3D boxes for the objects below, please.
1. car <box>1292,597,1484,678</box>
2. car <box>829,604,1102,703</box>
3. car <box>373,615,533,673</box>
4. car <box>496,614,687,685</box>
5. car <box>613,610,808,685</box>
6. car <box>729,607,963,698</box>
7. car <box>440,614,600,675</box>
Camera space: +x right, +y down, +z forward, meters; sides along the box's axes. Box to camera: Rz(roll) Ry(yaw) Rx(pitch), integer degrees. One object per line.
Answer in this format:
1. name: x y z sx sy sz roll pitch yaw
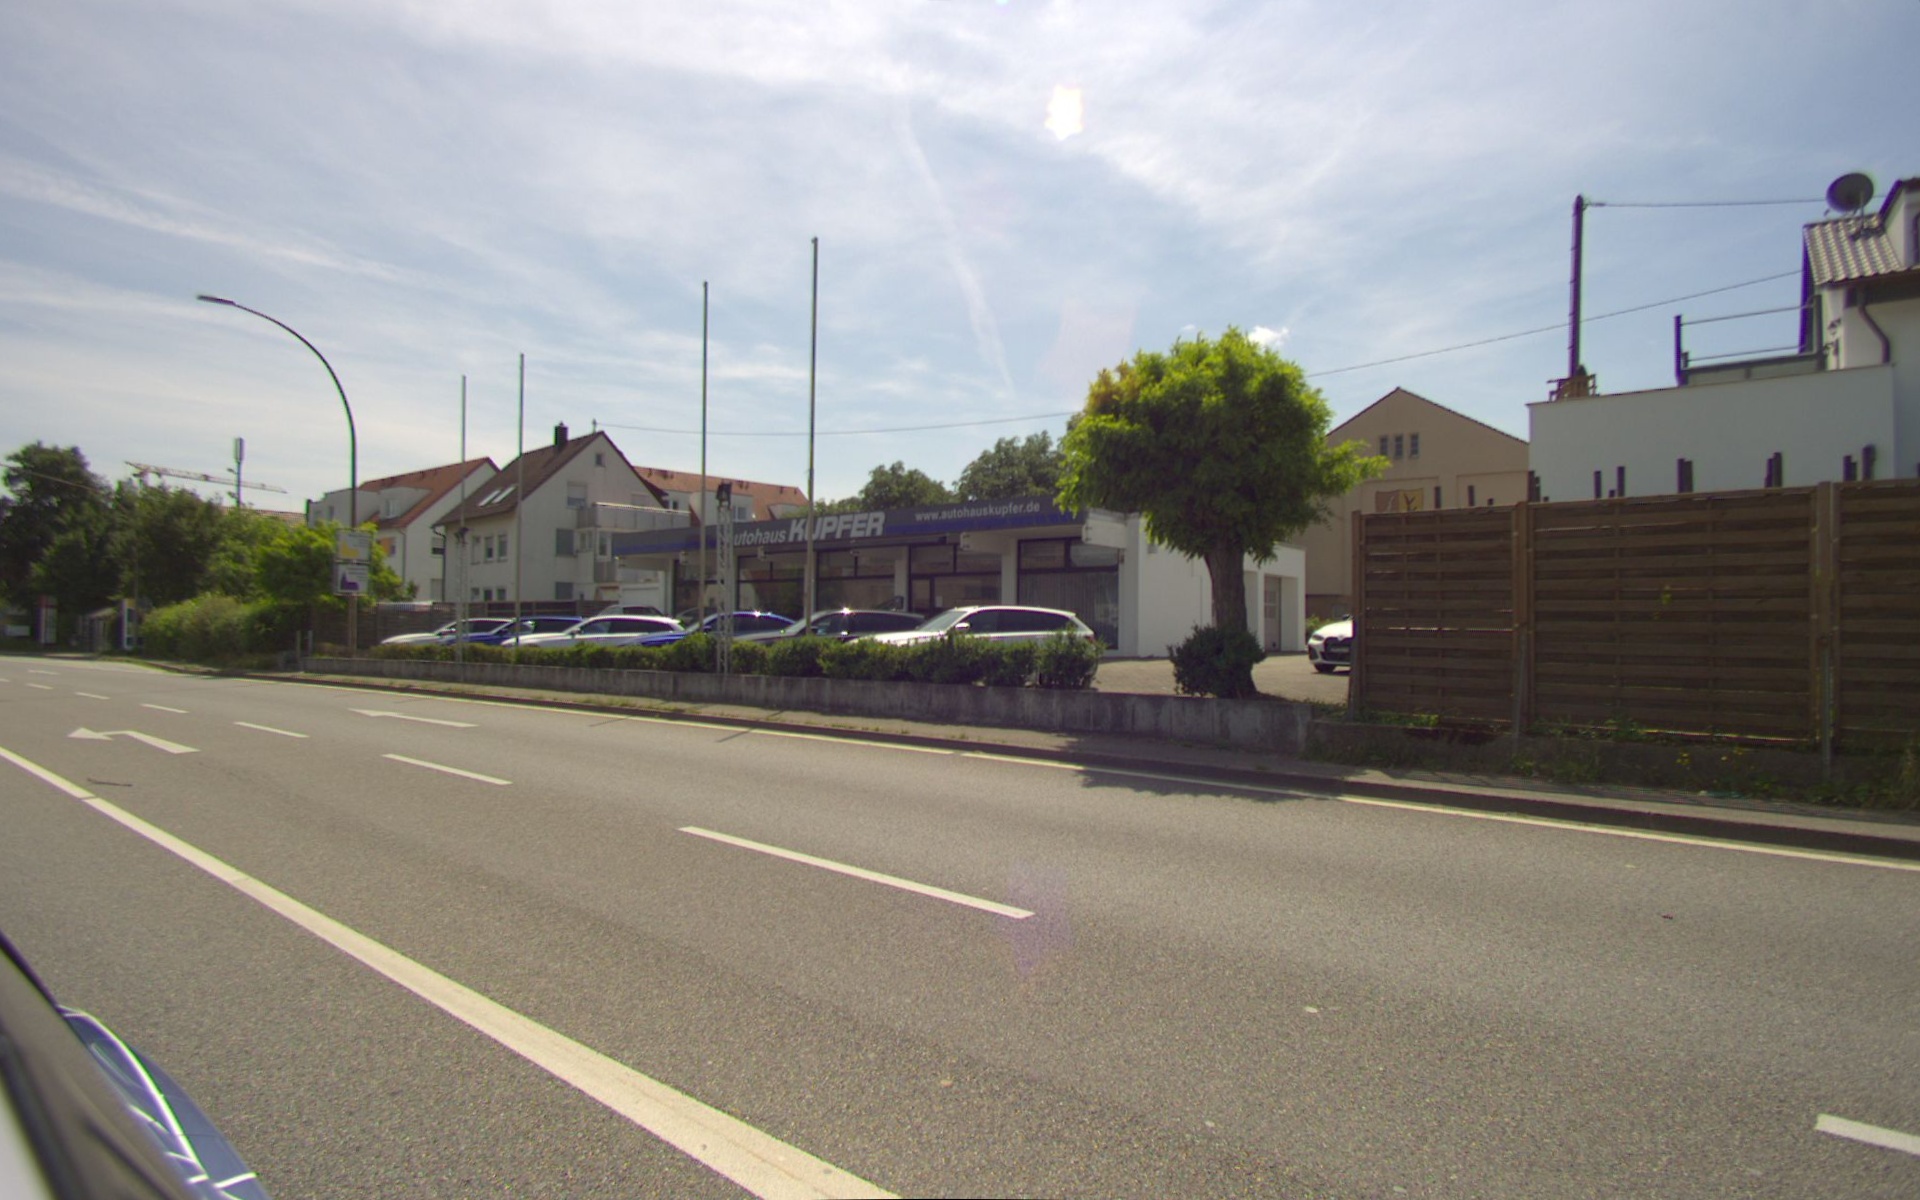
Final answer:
1. car: 8.520 0.684 20.018 3.936 1.451 1.886 1 -1 -39
2. car: 0.101 0.849 17.377 4.264 1.471 1.861 -1 -1 -25
3. car: -15.203 1.289 30.625 4.192 1.541 2.007 -1 -1 -23
4. car: -9.091 1.172 25.068 4.239 1.530 2.006 -1 -1 -22
5. car: -5.548 0.998 22.482 3.931 1.453 1.860 -1 -1 -24
6. car: -2.254 0.968 20.044 4.187 1.557 1.856 -1 -1 -26
7. car: -12.142 1.191 28.098 3.931 1.475 2.007 -1 -1 -23
